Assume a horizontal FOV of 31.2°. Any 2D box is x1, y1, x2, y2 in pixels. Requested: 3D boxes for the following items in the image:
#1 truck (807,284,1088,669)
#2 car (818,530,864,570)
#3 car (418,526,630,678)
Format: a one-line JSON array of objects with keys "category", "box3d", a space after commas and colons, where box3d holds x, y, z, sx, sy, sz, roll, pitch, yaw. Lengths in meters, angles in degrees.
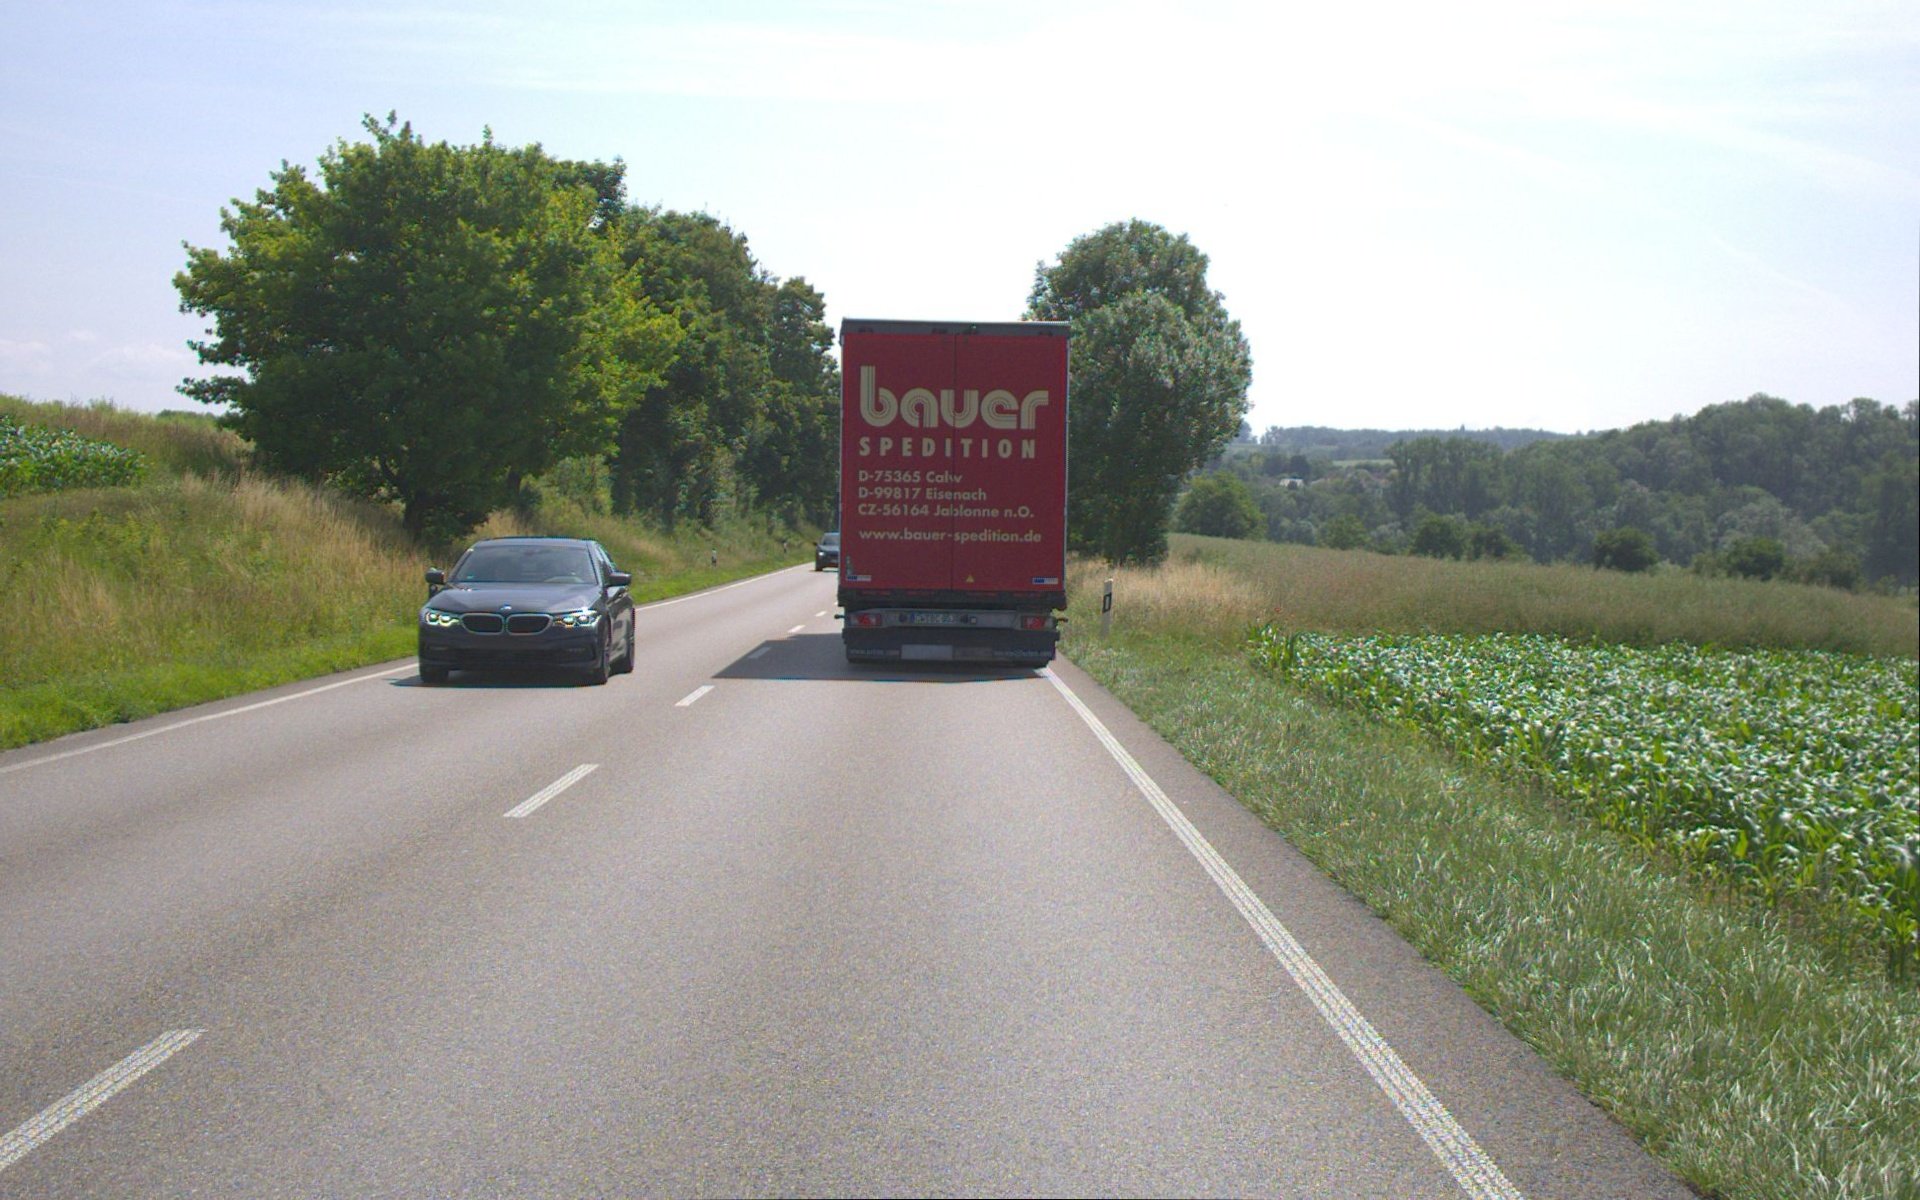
[{"category": "truck", "box3d": [-0.031, -1.397, 42.153, 3.094, 4.248, 8.314, 0, 0, 2]}, {"category": "car", "box3d": [-4.738, -1.989, 136.870, 1.656, 1.529, 4.358, 1, 1, 0]}, {"category": "car", "box3d": [-4.456, -0.025, 35.688, 1.673, 1.452, 4.351, 0, 1, 0]}]
